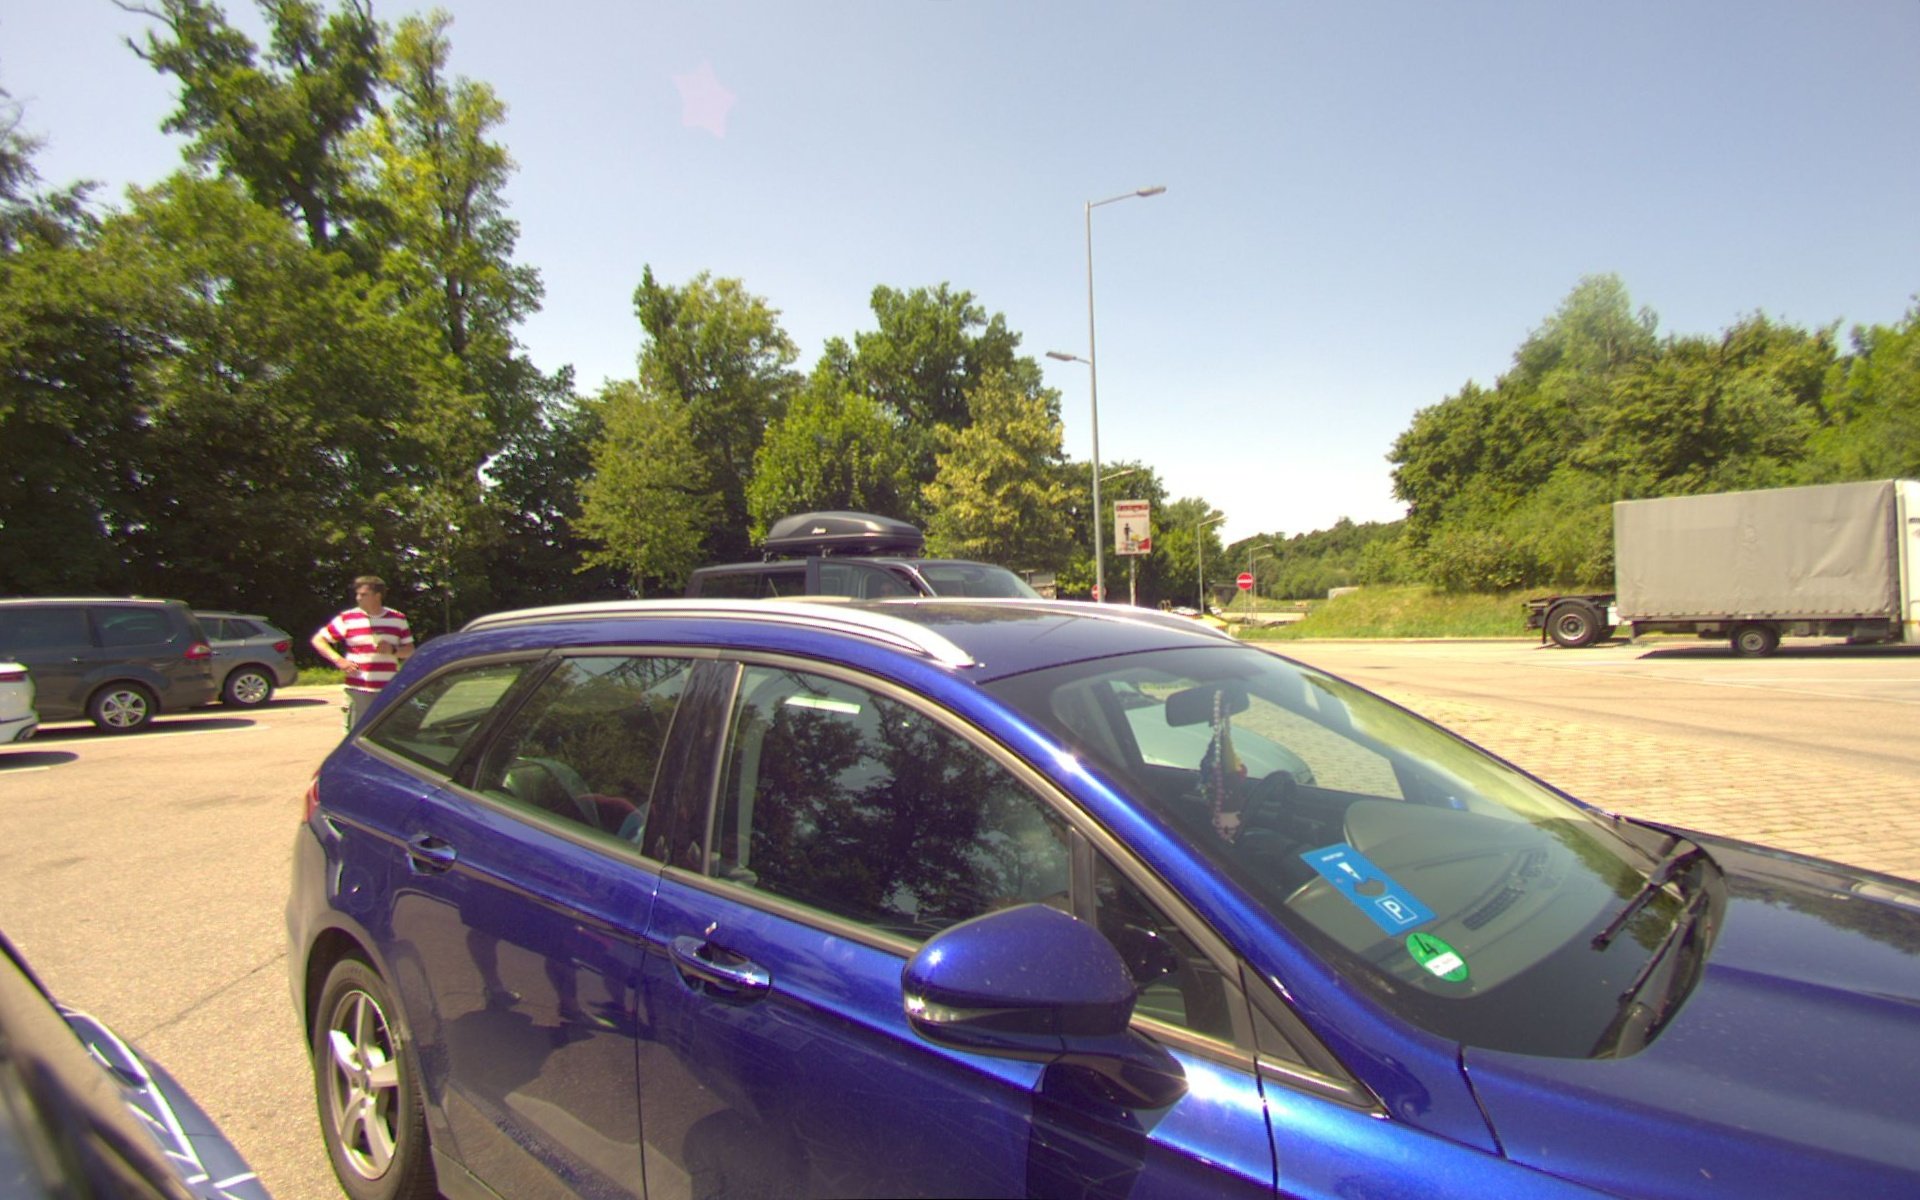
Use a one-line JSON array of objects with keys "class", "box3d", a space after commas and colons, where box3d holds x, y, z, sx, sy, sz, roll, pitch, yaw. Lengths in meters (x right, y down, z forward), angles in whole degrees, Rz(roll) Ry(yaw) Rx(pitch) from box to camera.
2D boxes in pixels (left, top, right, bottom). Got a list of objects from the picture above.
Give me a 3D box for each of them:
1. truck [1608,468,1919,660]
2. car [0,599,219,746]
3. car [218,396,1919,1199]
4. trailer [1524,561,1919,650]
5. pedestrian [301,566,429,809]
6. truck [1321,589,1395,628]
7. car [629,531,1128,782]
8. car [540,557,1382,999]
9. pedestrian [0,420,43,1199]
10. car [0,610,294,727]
[{"class": "truck", "box3d": [16.779, -0.641, 19.012, 7.274, 3.269, 2.678, -4, -1, 42]}, {"class": "car", "box3d": [-11.633, 0.869, 12.655, 3.767, 1.708, 1.654, -1, 0, -38]}, {"class": "car", "box3d": [0.232, 0.637, 2.073, 4.569, 1.482, 1.735, -3, 0, 40]}, {"class": "trailer", "box3d": [17.703, 0.165, 23.109, 8.098, 1.638, 2.187, -4, -1, 41]}, {"class": "pedestrian", "box3d": [-4.636, 0.633, 7.878, 0.743, 1.767, 0.786, -1, 0, -39]}, {"class": "truck", "box3d": [50.204, 0.993, 128.346, 2.717, 4.589, 14.079, -1, 0, -5]}, {"class": "car", "box3d": [-0.894, 0.502, 9.658, 4.558, 1.912, 1.740, -3, 0, 32]}, {"class": "car", "box3d": [-0.324, 0.673, 5.609, 4.569, 1.517, 1.735, -3, 0, 40]}, {"class": "pedestrian", "box3d": [-2.729, 0.523, 2.242, 0.905, 1.919, 0.816, -1, 0, -33]}, {"class": "car", "box3d": [-12.625, 0.974, 15.662, 3.767, 1.572, 1.654, -1, 0, -38]}]
